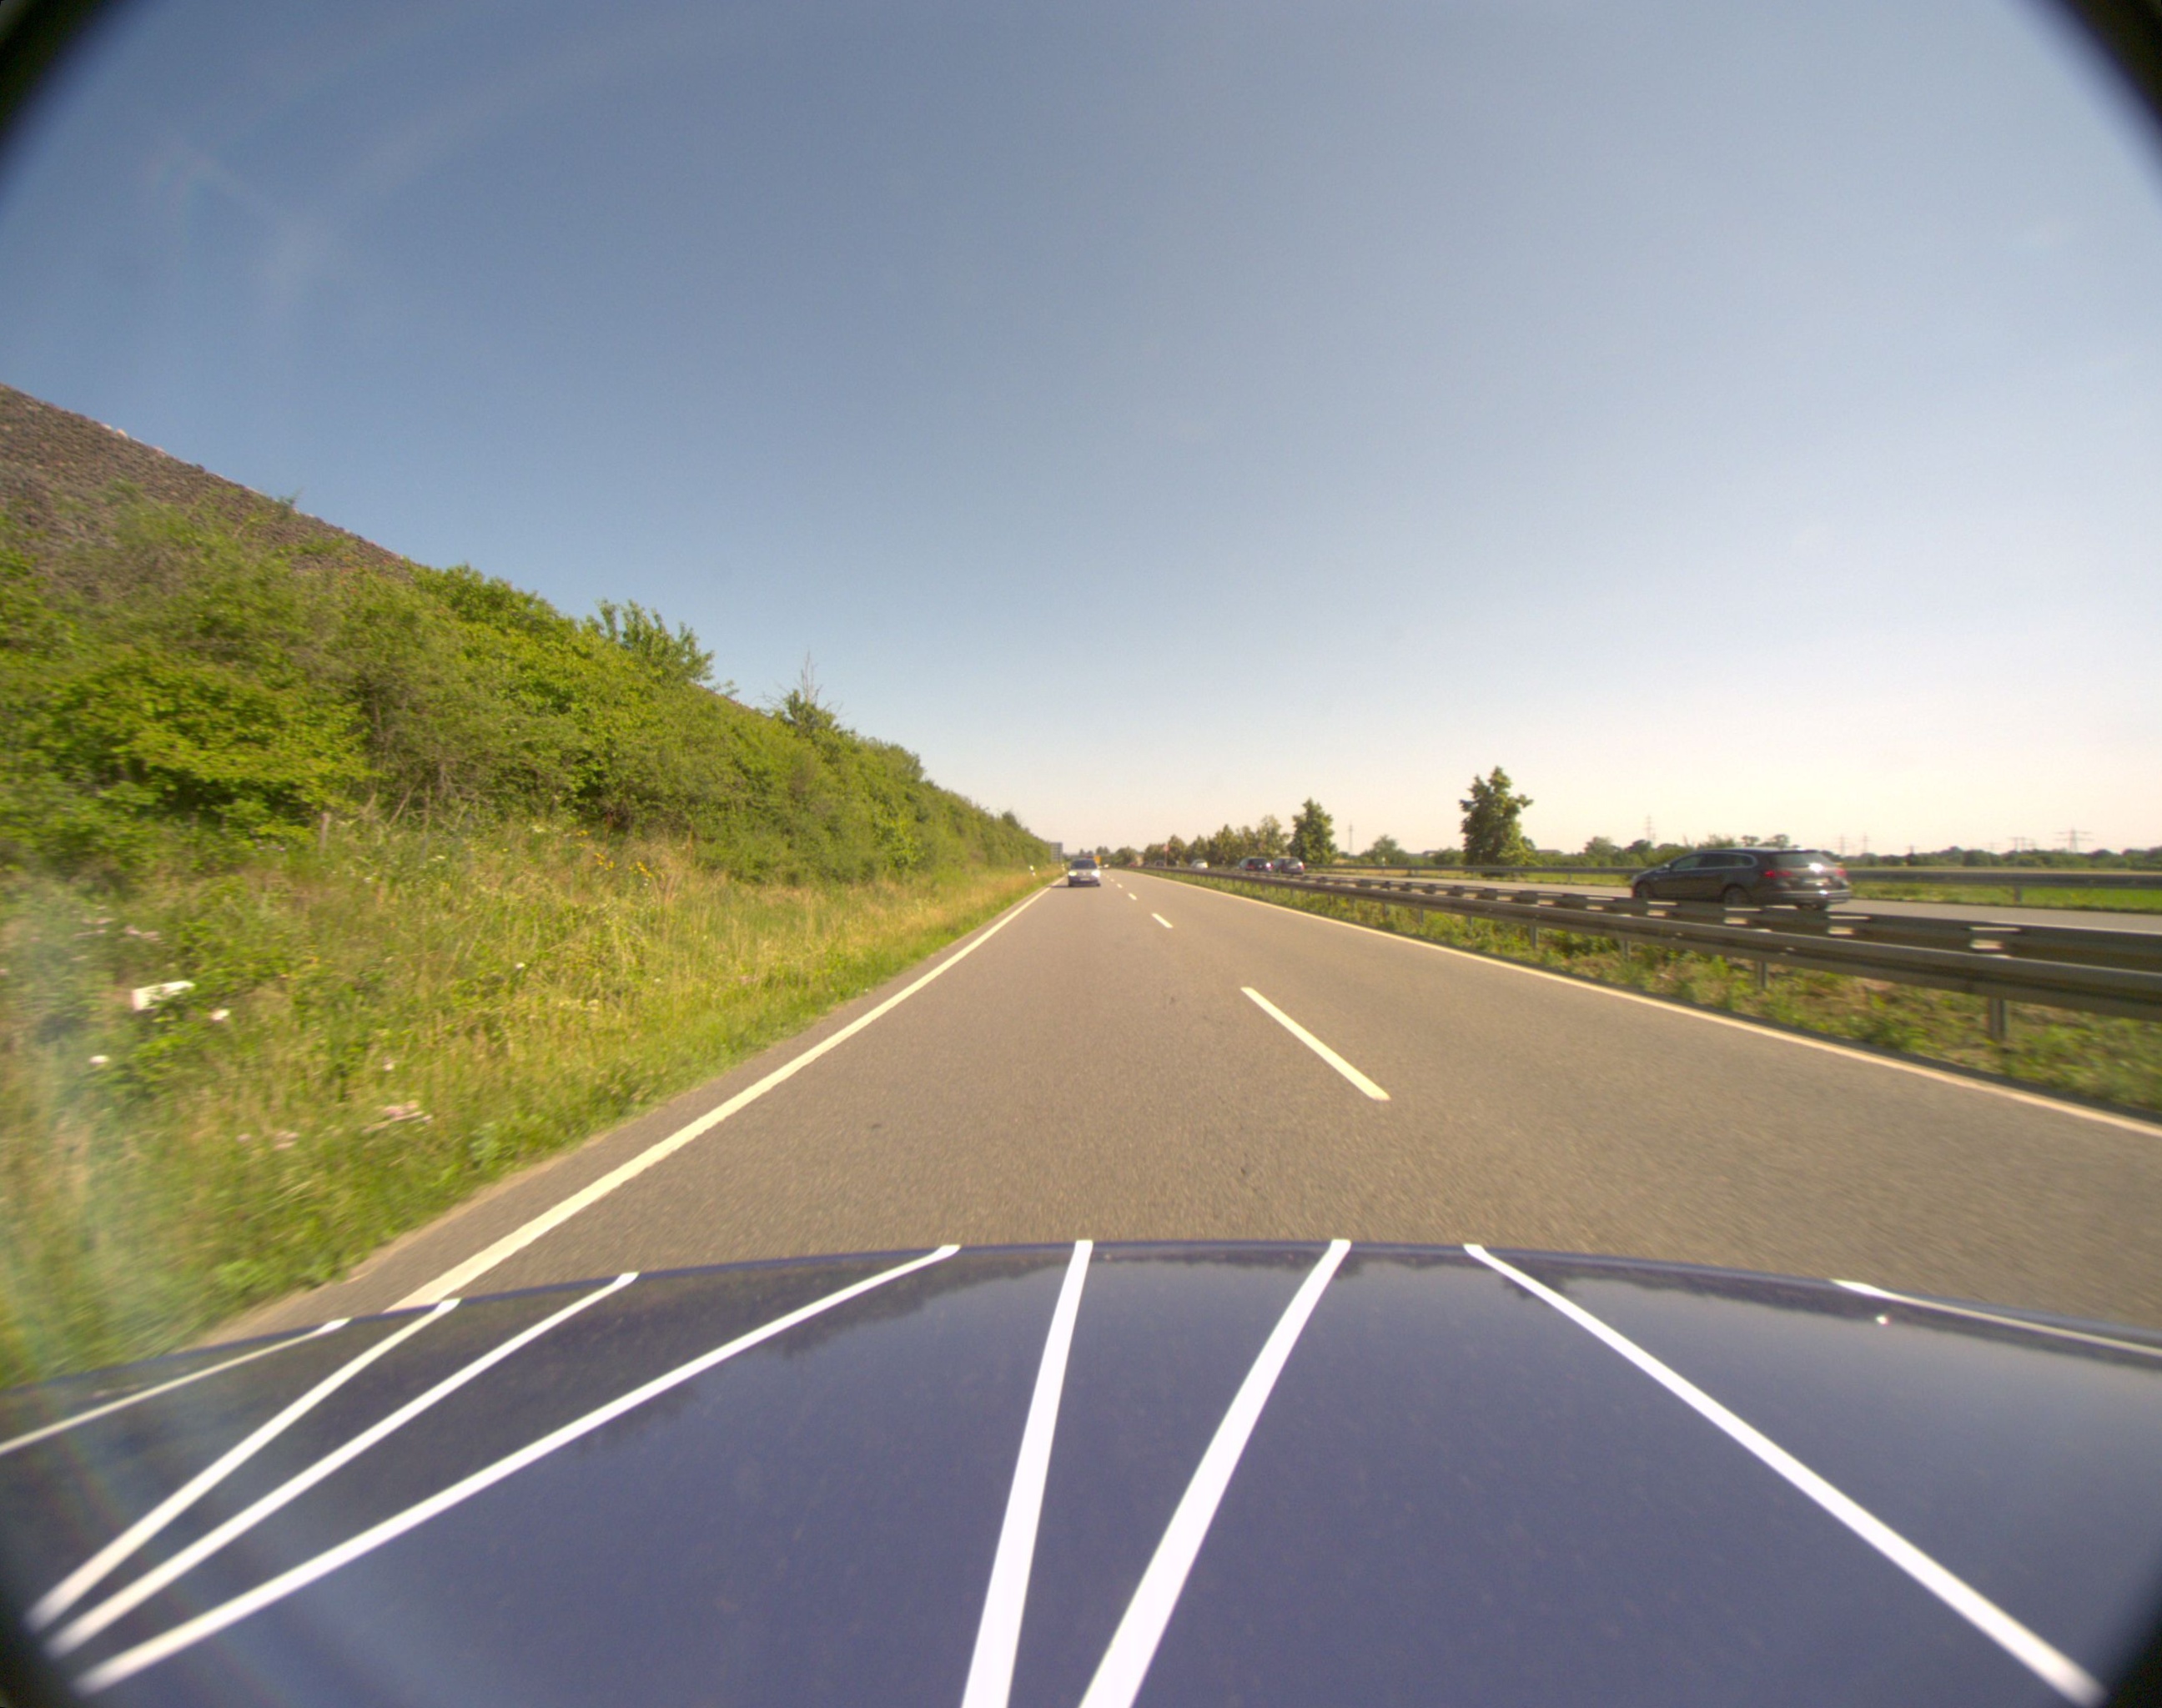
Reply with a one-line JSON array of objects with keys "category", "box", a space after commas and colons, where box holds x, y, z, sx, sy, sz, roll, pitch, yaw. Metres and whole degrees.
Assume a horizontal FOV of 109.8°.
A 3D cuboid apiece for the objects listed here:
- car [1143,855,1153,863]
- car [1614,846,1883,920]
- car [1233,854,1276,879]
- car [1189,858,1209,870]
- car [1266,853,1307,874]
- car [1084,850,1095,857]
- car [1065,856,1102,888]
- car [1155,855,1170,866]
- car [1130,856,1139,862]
[{"category": "car", "box": [14.147, 1.134, 161.074, 1.730, 1.586, 4.221, -2, 0, 1]}, {"category": "car", "box": [15.196, 0.596, 17.783, 1.873, 1.426, 4.934, -3, 0, -1]}, {"category": "car", "box": [11.284, 0.796, 49.702, 1.819, 1.464, 4.324, -2, 0, 0]}, {"category": "car", "box": [15.003, 1.209, 96.448, 1.826, 1.388, 4.415, -3, 0, 1]}, {"category": "car", "box": [14.807, 0.690, 54.990, 1.717, 1.442, 4.323, -1, 0, -1]}, {"category": "car", "box": [1.591, -0.095, 143.276, 1.790, 1.212, 3.999, -1, 0, -1]}, {"category": "car", "box": [0.179, 0.985, 42.903, 1.854, 1.635, 4.001, -1, 1, 3]}, {"category": "car", "box": [11.945, 0.927, 111.458, 1.717, 1.461, 4.415, -3, 0, 1]}, {"category": "car", "box": [12.567, 1.213, 179.203, 1.881, 1.484, 5.095, -1, 0, 1]}]
